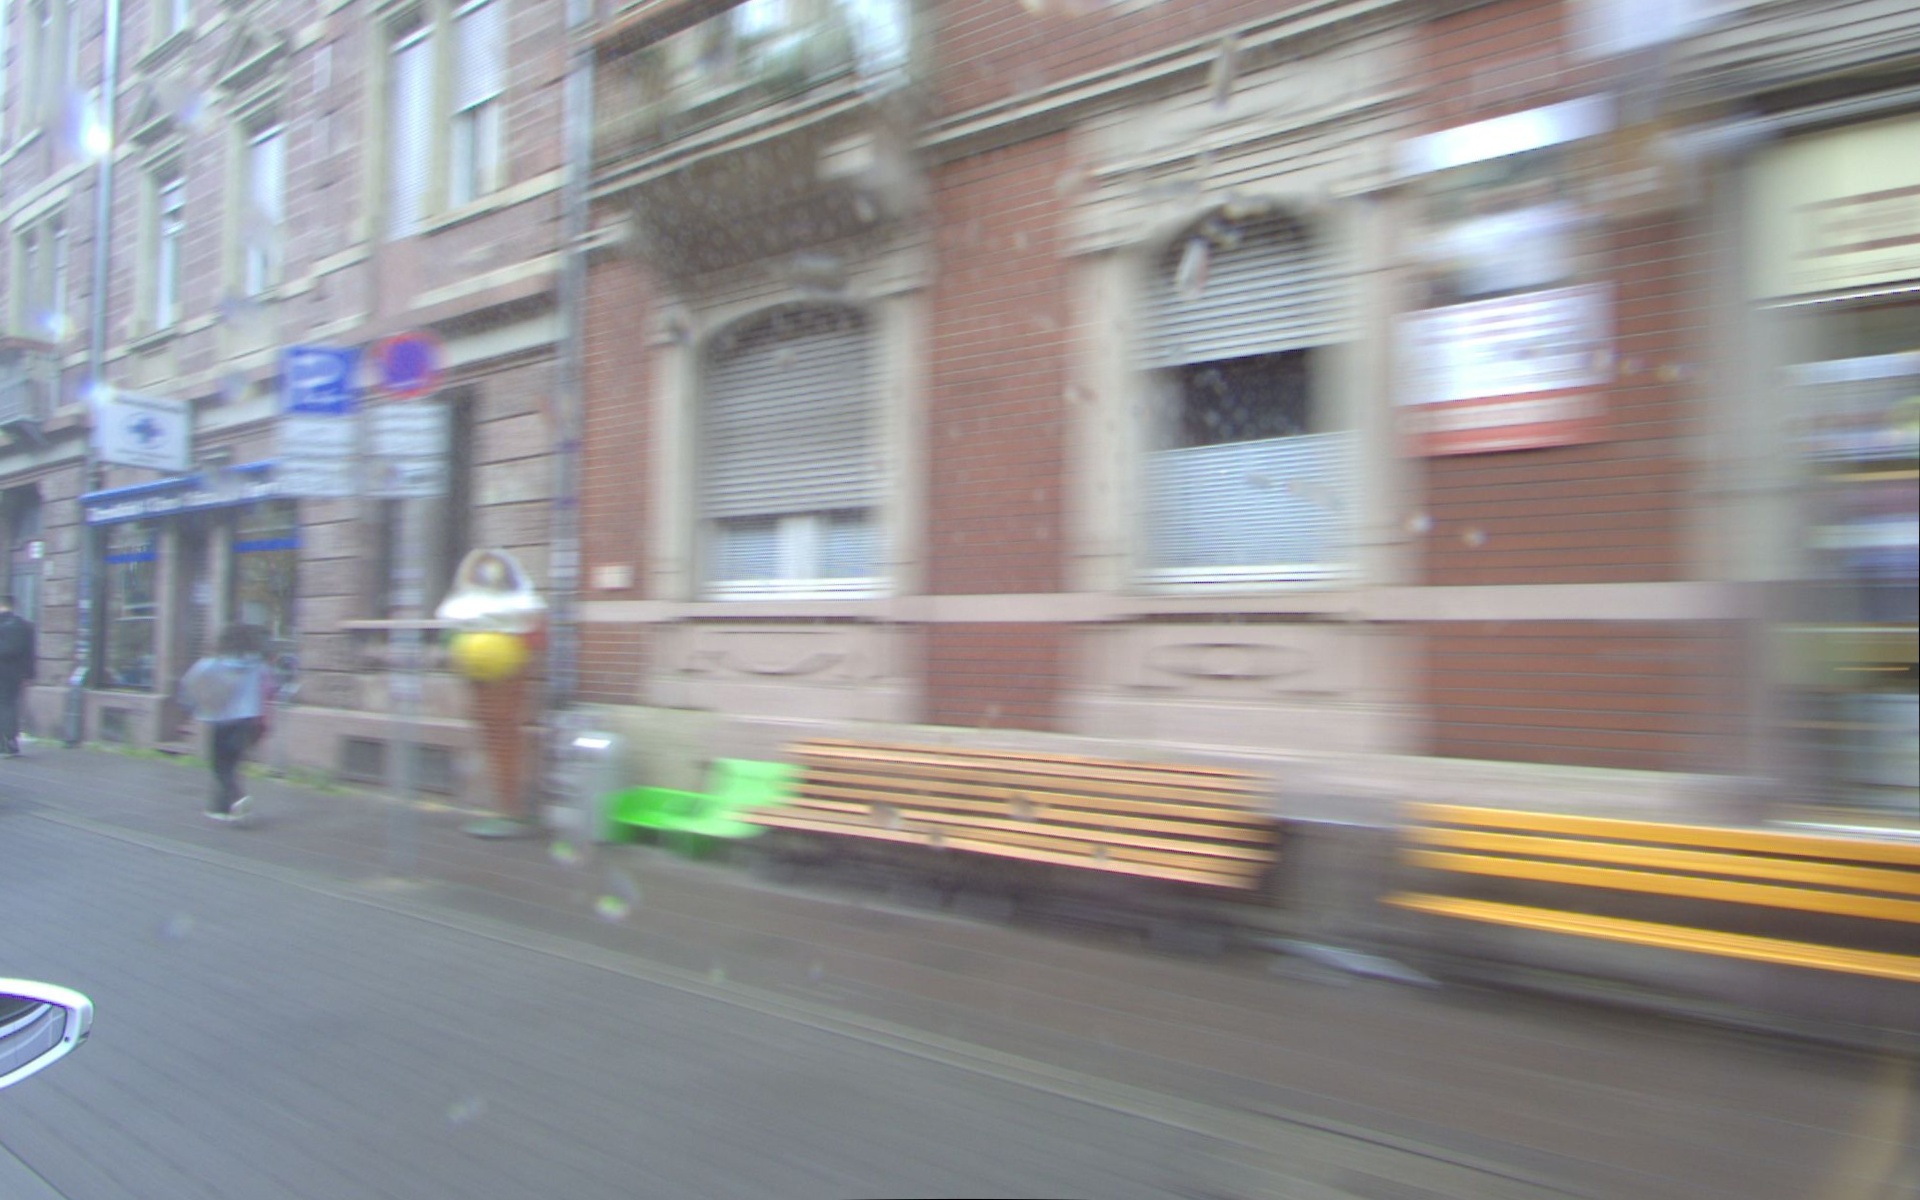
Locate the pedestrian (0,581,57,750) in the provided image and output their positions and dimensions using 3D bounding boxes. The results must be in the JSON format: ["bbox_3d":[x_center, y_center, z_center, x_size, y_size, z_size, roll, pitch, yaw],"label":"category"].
[{"bbox_3d":[-11.398,0.788,11.975,0.799,1.958,0.677,-2,-3,33],"label":"pedestrian"}]

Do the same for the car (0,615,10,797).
[{"bbox_3d":[-10.373,0.906,8.924,3.946,1.565,1.838,-1,-2,32],"label":"car"}]

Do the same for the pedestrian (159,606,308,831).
[{"bbox_3d":[-5.646,0.878,7.791,0.798,1.634,0.677,0,-1,32],"label":"pedestrian"}]
